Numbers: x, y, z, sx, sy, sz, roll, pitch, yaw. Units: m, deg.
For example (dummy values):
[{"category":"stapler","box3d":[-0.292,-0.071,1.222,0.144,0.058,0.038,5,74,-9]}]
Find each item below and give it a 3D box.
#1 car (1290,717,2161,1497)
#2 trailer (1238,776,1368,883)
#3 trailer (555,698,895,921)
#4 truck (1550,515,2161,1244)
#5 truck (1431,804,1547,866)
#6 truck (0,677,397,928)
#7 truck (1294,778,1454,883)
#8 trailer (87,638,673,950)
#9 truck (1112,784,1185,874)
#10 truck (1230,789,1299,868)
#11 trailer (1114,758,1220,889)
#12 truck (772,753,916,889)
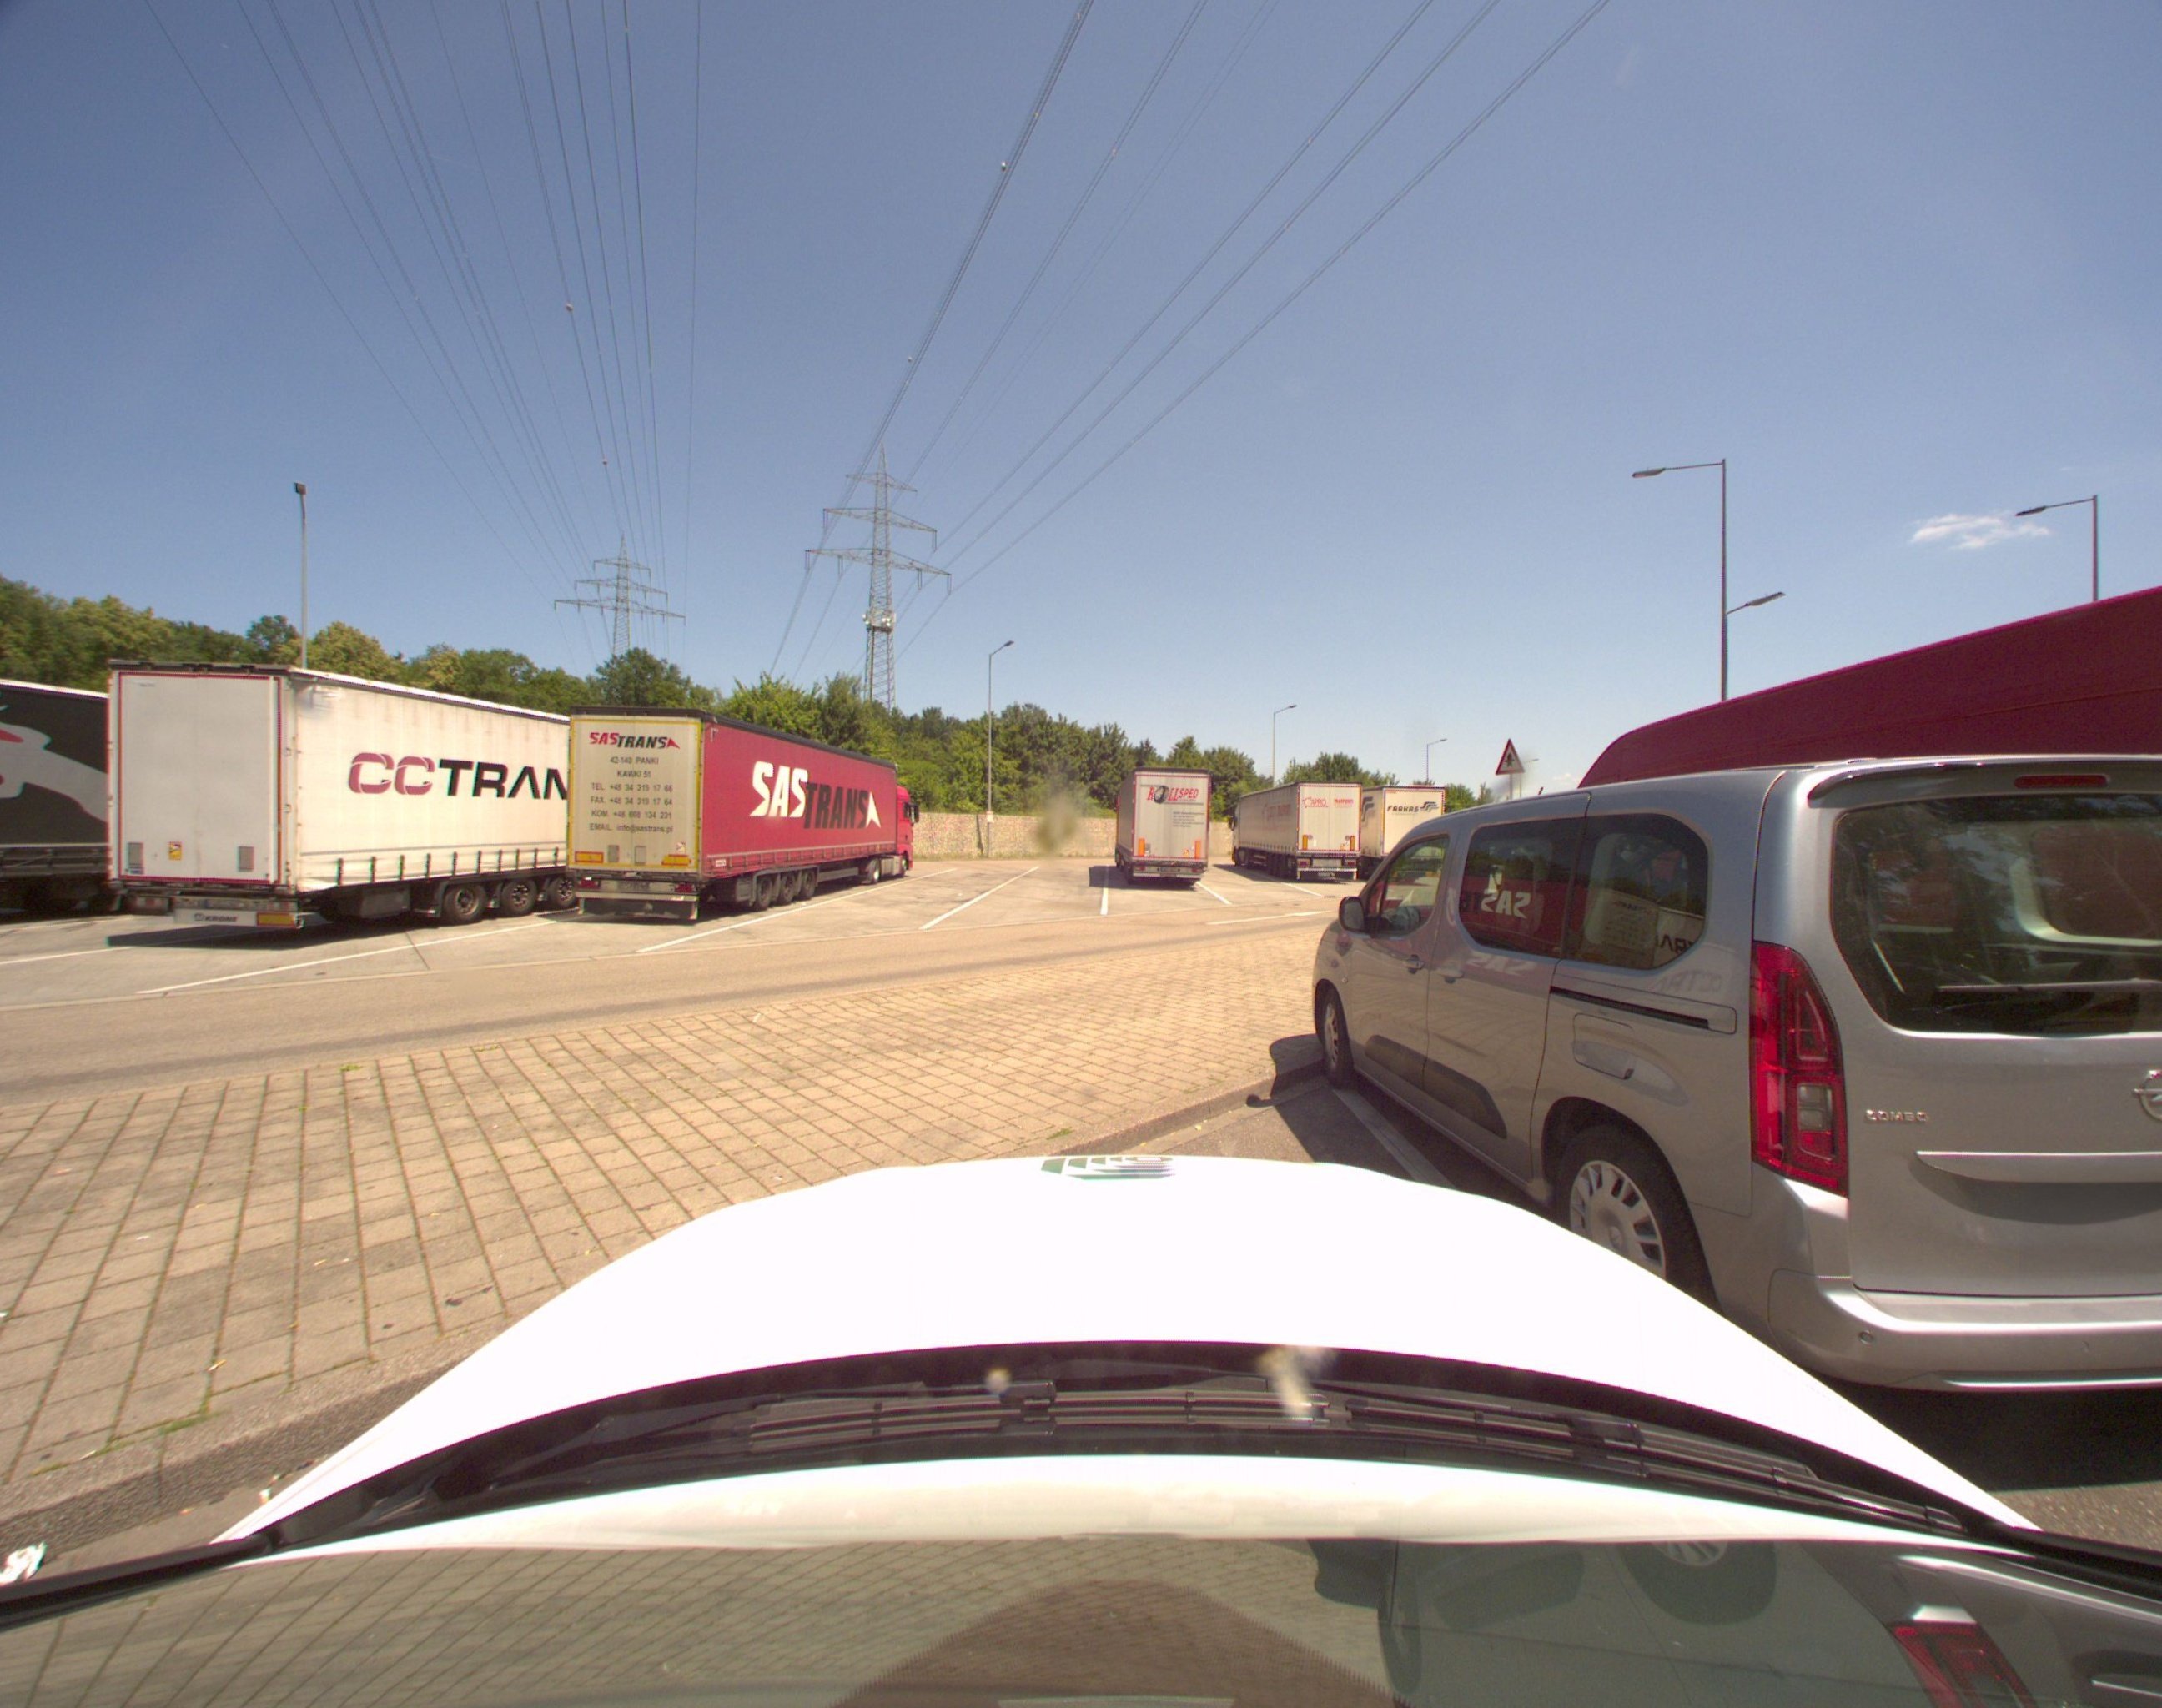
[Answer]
[{"category":"car","box3d":[2.466,0.532,3.864,1.821,1.753,3.998,-1,1,-2]},{"category":"trailer","box3d":[9.934,-1.066,38.424,2.865,4.124,13.577,0,1,2]},{"category":"trailer","box3d":[-8.050,-0.920,21.585,2.739,4.057,13.292,-1,1,2]},{"category":"truck","box3d":[5.096,0.054,4.886,1.983,2.623,5.312,0,1,6]},{"category":"truck","box3d":[24.455,-1.127,49.451,3.013,3.437,8.534,-1,1,2]},{"category":"truck","box3d":[-18.516,-0.858,15.977,2.627,4.018,8.640,-1,1,2]},{"category":"truck","box3d":[13.568,-1.056,39.668,2.894,4.124,14.533,2,1,2]},{"category":"trailer","box3d":[-12.104,-0.897,16.084,2.734,4.263,9.740,0,1,3]},{"category":"truck","box3d":[3.121,-1.222,39.524,3.016,3.928,6.848,1,2,1]},{"category":"truck","box3d":[10.121,-1.394,45.426,2.747,4.124,5.286,-1,1,2]},{"category":"trailer","box3d":[3.039,-1.188,32.752,3.059,4.227,12.811,1,2,1]},{"category":"truck","box3d":[-7.844,-1.052,28.028,2.733,4.081,6.832,-1,1,1]}]
